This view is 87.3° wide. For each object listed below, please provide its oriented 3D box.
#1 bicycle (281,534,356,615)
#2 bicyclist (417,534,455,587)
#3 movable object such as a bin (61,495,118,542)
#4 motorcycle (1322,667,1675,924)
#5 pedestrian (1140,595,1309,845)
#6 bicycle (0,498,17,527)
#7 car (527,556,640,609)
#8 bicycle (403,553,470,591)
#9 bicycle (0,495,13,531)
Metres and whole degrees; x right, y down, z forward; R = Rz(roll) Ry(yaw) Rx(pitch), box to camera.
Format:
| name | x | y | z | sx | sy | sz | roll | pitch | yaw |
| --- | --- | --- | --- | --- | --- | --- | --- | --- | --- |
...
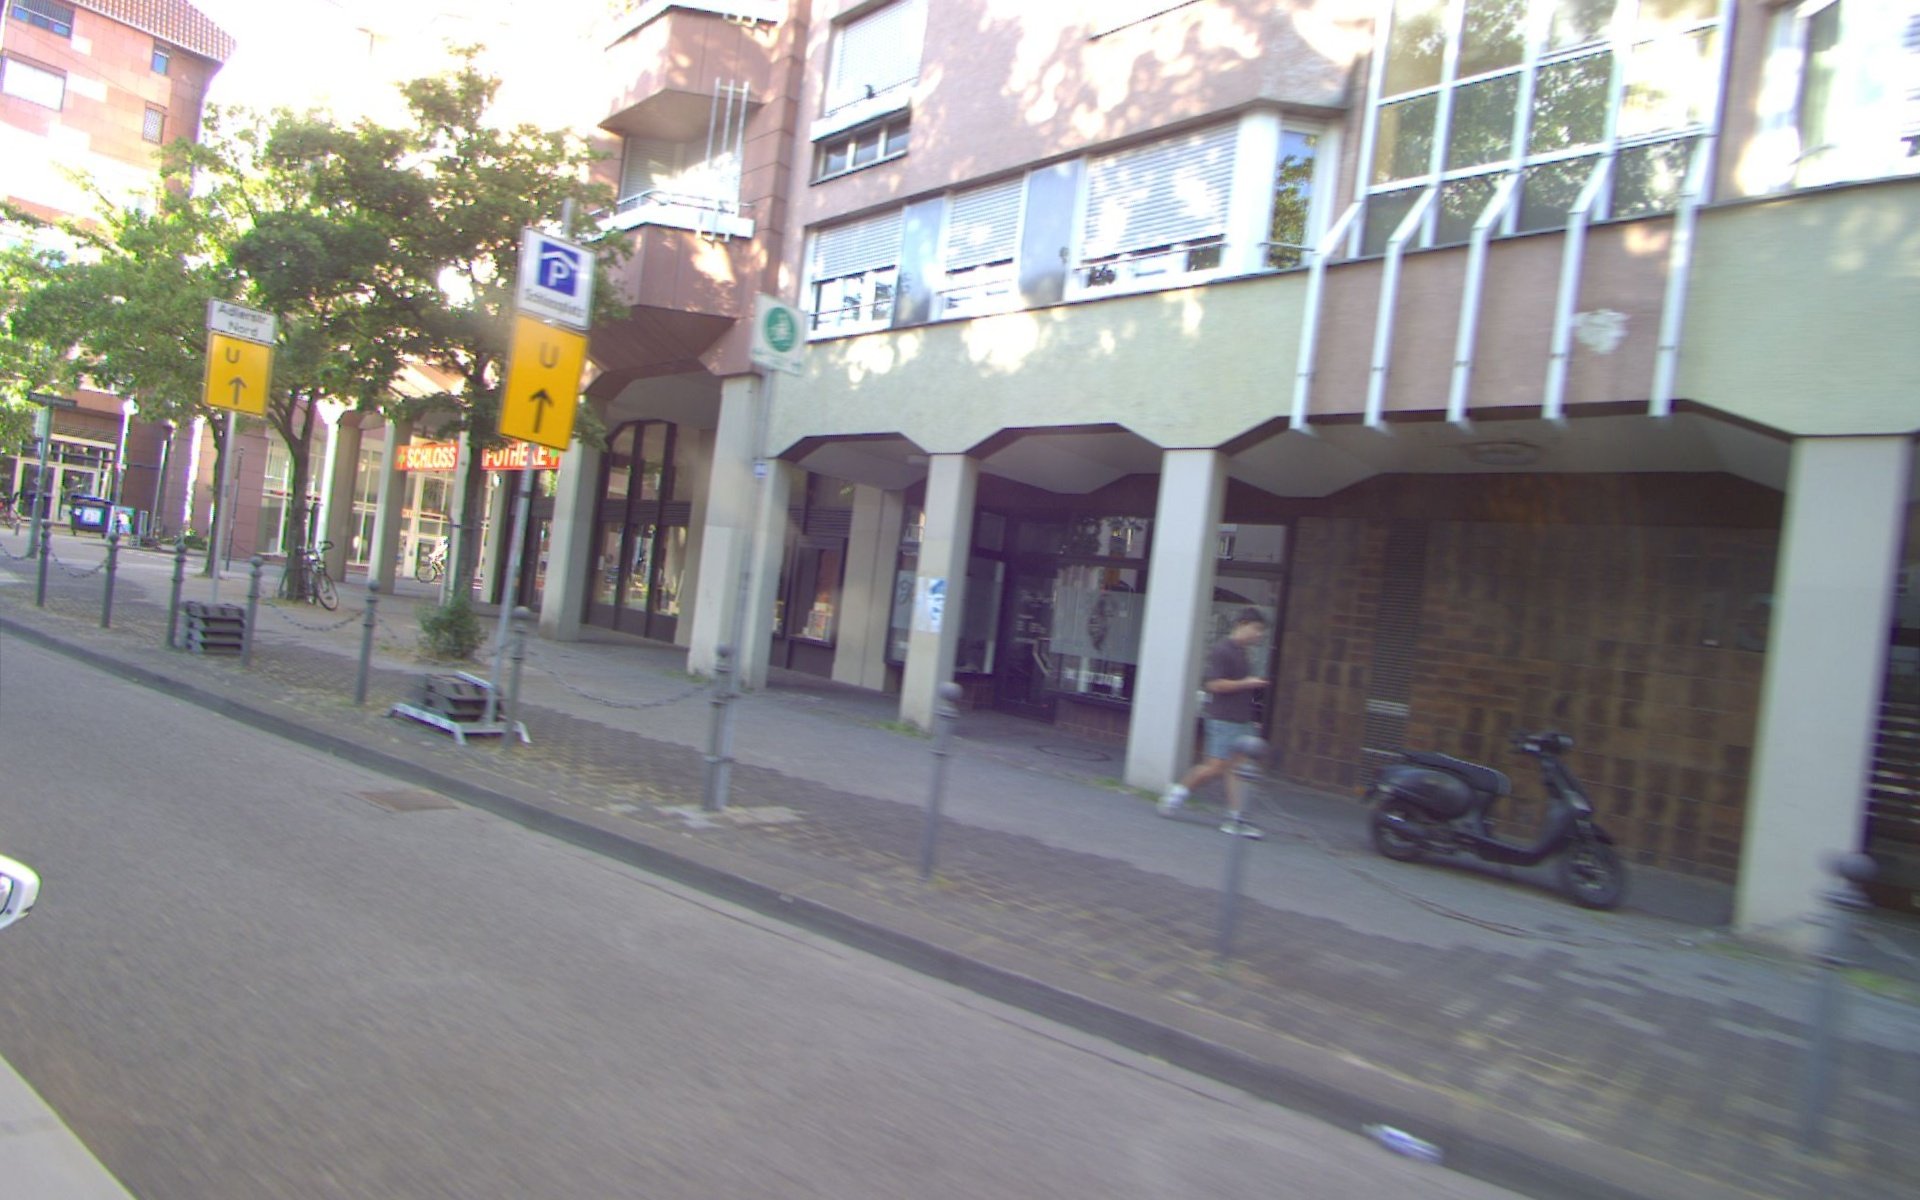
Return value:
| name | x | y | z | sx | sy | sz | roll | pitch | yaw |
| --- | --- | --- | --- | --- | --- | --- | --- | --- | --- |
| bicycle | -11.353 | -0.463 | 17.776 | 0.620 | 1.240 | 1.902 | 7 | 0 | -45 |
| bicyclist | -19.180 | -1.453 | 36.822 | 0.777 | 1.792 | 0.824 | 7 | 0 | 41 |
| movable object such as a bin | -32.115 | -3.009 | 37.102 | 0.860 | 1.500 | 1.407 | 7 | 0 | 44 |
| motorcycle | 3.819 | 1.325 | 7.286 | 2.056 | 1.389 | 0.489 | 7 | 0 | 33 |
| pedestrian | 2.070 | 0.911 | 7.873 | 0.825 | 1.759 | 0.780 | 7 | 0 | 41 |
| bicycle | -37.779 | -3.488 | 38.877 | 1.734 | 1.066 | 0.733 | 8 | 0 | -31 |
| car | -16.533 | -0.745 | 44.285 | 1.776 | 1.742 | 4.181 | 7 | -1 | 41 |
| bicycle | -19.188 | -1.032 | 36.891 | 0.792 | 1.126 | 1.913 | 7 | -1 | 40 |
| bicycle | -35.618 | -3.268 | 36.594 | 0.569 | 1.242 | 1.567 | 7 | 0 | 38 |
